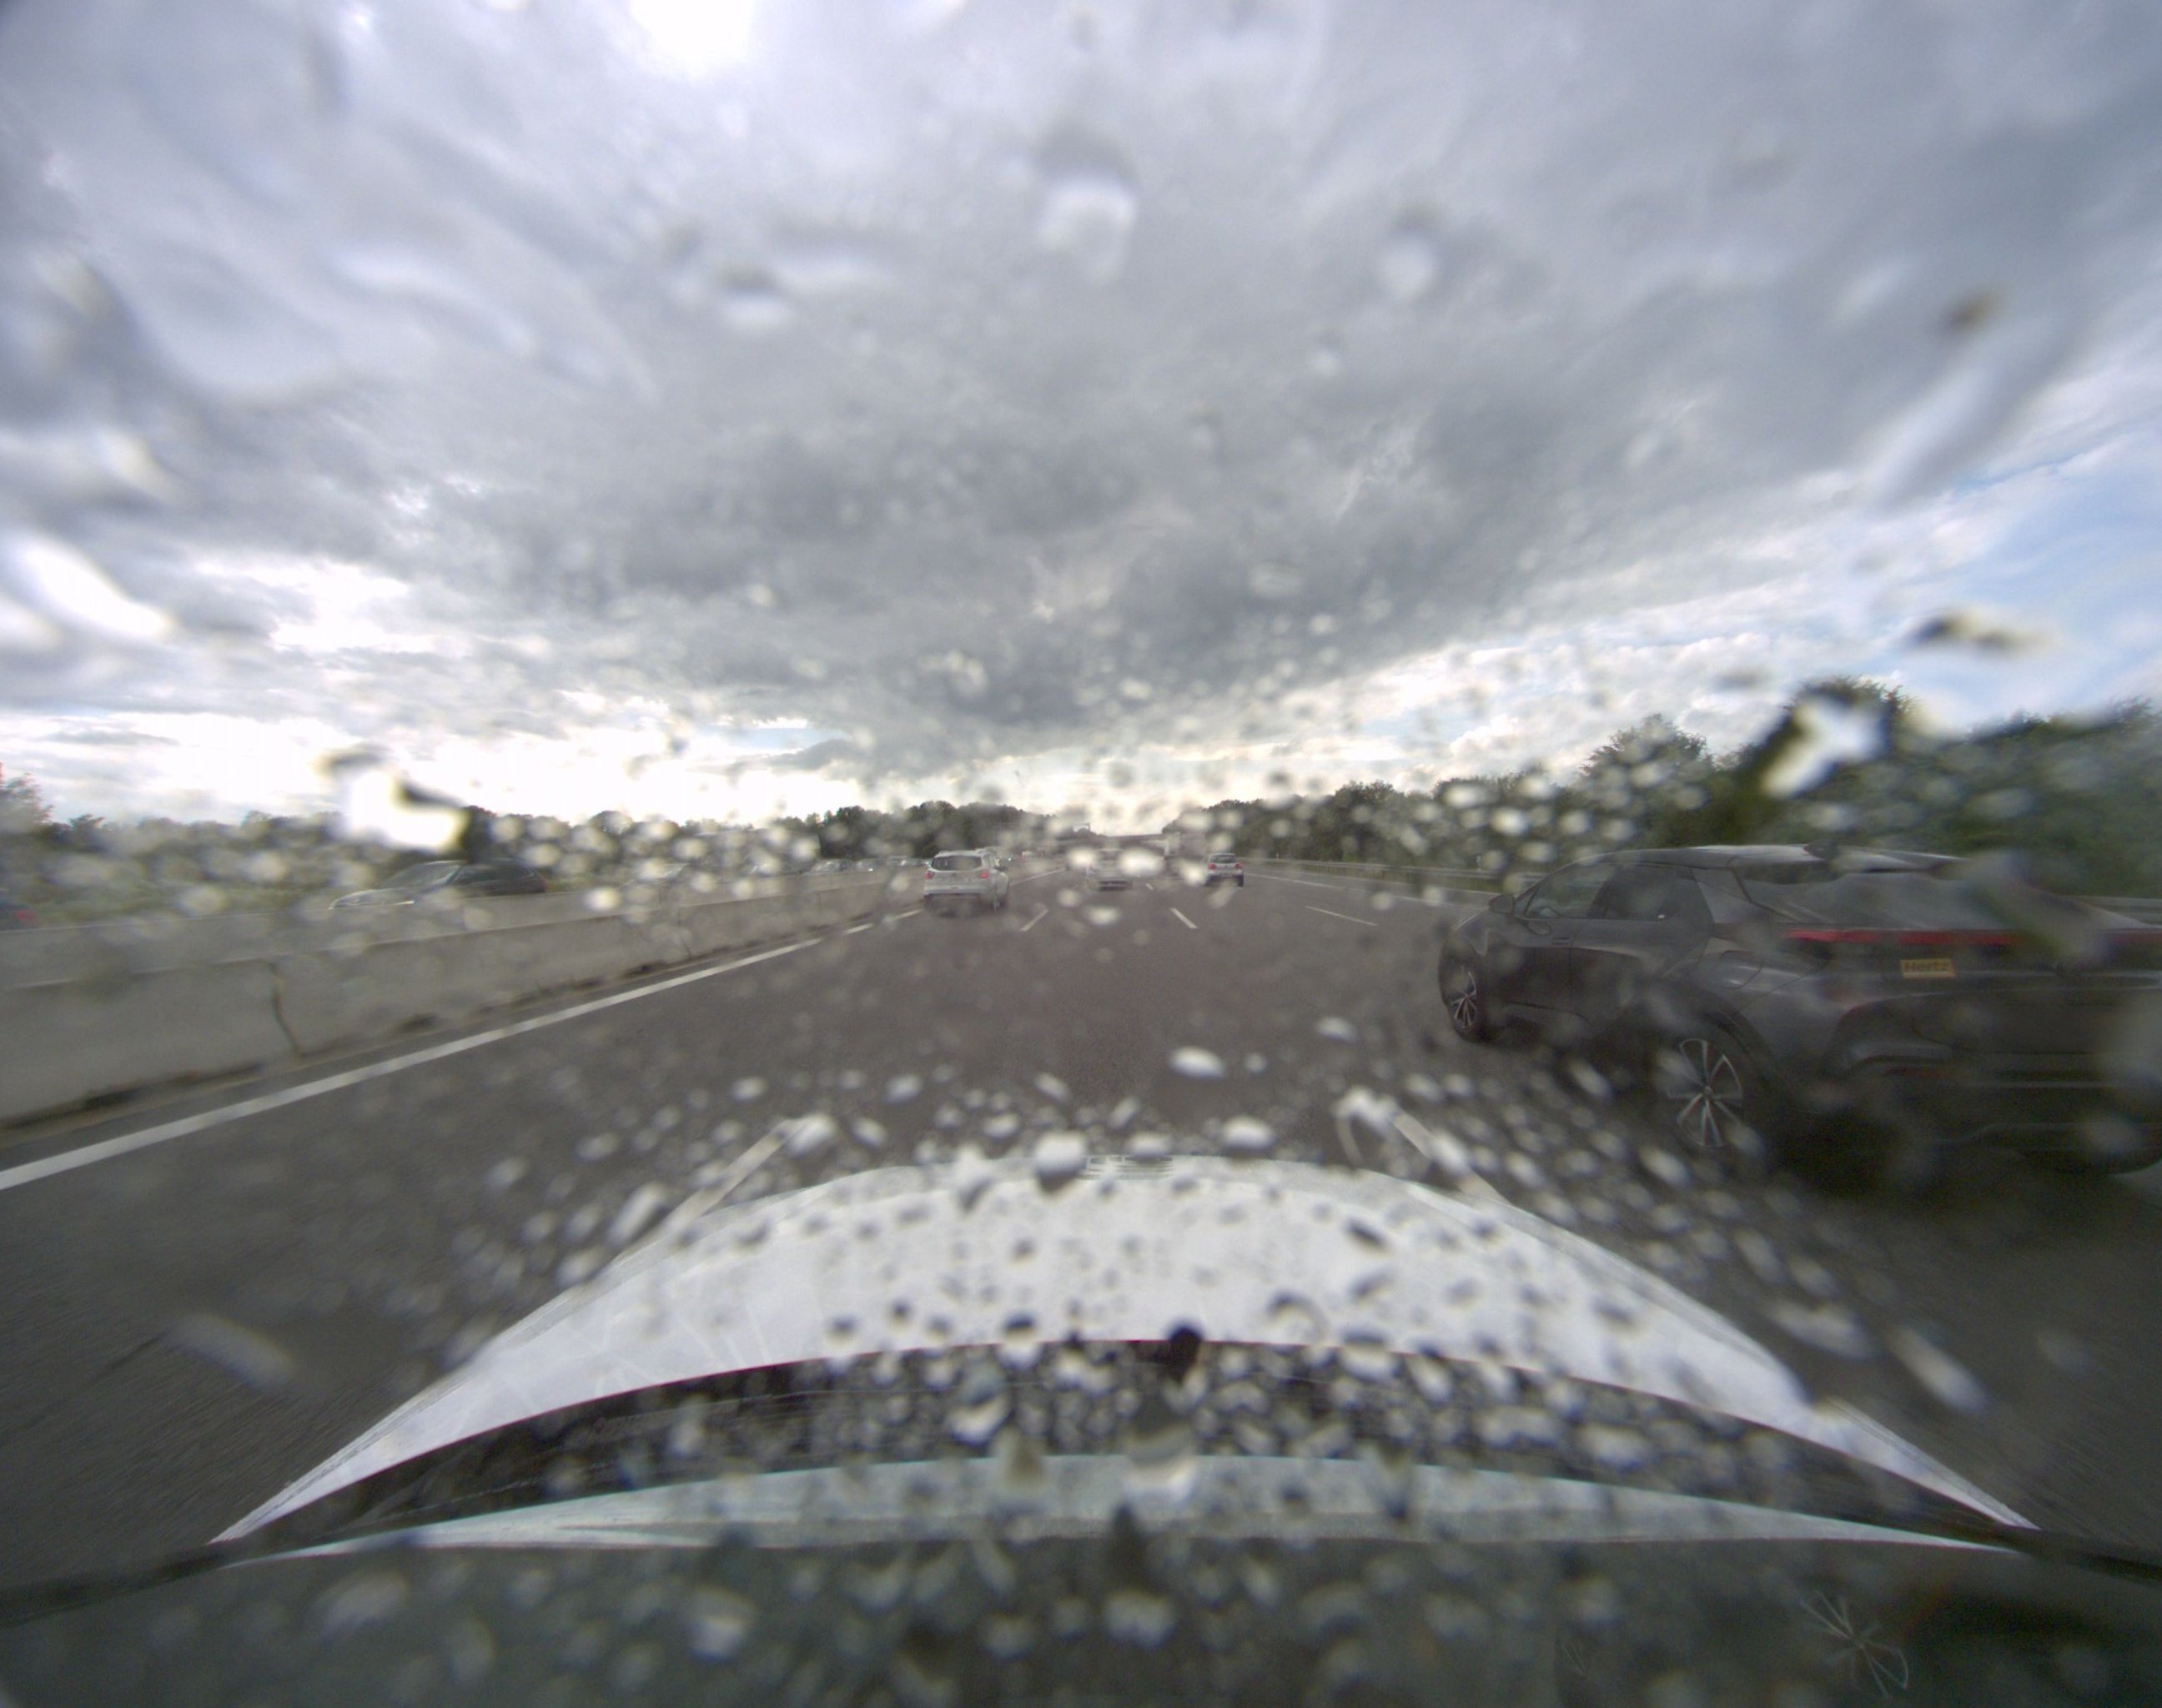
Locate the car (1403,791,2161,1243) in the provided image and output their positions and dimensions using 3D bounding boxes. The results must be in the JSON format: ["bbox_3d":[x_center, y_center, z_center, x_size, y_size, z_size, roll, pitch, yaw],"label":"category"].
[{"bbox_3d":[3.814,0.583,5.229,1.774,1.613,4.599,-1,0,1],"label":"car"}]

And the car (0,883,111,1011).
[{"bbox_3d":[-17.546,1.458,11.370,1.986,1.904,4.933,-1,0,2],"label":"car"}]

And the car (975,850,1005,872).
[{"bbox_3d":[-8.595,0.650,77.074,1.985,2.013,5.422,-1,0,3],"label":"car"}]

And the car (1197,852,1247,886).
[{"bbox_3d":[6.419,0.644,37.497,1.788,1.477,4.040,-1,0,3],"label":"car"}]

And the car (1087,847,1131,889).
[{"bbox_3d":[1.229,0.578,35.549,1.774,1.716,4.354,-1,0,2],"label":"car"}]

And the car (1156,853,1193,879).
[{"bbox_3d":[5.473,0.667,48.060,1.877,1.407,4.285,-1,0,2],"label":"car"}]

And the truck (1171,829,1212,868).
[{"bbox_3d":[11.151,-0.506,82.913,3.121,3.709,9.852,-1,0,2],"label":"truck"}]

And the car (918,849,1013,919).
[{"bbox_3d":[-3.053,0.721,22.587,1.809,1.689,4.853,-1,0,1],"label":"car"}]

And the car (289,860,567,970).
[{"bbox_3d":[-13.527,1.138,17.361,1.985,1.967,4.699,-1,0,2],"label":"car"}]

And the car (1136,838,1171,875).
[{"bbox_3d":[6.007,0.227,68.528,2.557,2.895,7.538,-1,0,2],"label":"car"}]

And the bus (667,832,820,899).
[{"bbox_3d":[-19.554,0.595,48.714,2.676,3.385,14.007,-1,0,3],"label":"bus"}]

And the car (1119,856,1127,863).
[{"bbox_3d":[10.373,1.251,200.187,1.875,1.686,4.000,-1,0,1],"label":"car"}]

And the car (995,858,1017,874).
[{"bbox_3d":[-9.073,1.412,98.504,1.985,1.904,4.507,-1,0,3],"label":"car"}]

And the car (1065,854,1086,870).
[{"bbox_3d":[-0.505,0.733,79.744,1.773,1.481,4.357,-1,0,3],"label":"car"}]
